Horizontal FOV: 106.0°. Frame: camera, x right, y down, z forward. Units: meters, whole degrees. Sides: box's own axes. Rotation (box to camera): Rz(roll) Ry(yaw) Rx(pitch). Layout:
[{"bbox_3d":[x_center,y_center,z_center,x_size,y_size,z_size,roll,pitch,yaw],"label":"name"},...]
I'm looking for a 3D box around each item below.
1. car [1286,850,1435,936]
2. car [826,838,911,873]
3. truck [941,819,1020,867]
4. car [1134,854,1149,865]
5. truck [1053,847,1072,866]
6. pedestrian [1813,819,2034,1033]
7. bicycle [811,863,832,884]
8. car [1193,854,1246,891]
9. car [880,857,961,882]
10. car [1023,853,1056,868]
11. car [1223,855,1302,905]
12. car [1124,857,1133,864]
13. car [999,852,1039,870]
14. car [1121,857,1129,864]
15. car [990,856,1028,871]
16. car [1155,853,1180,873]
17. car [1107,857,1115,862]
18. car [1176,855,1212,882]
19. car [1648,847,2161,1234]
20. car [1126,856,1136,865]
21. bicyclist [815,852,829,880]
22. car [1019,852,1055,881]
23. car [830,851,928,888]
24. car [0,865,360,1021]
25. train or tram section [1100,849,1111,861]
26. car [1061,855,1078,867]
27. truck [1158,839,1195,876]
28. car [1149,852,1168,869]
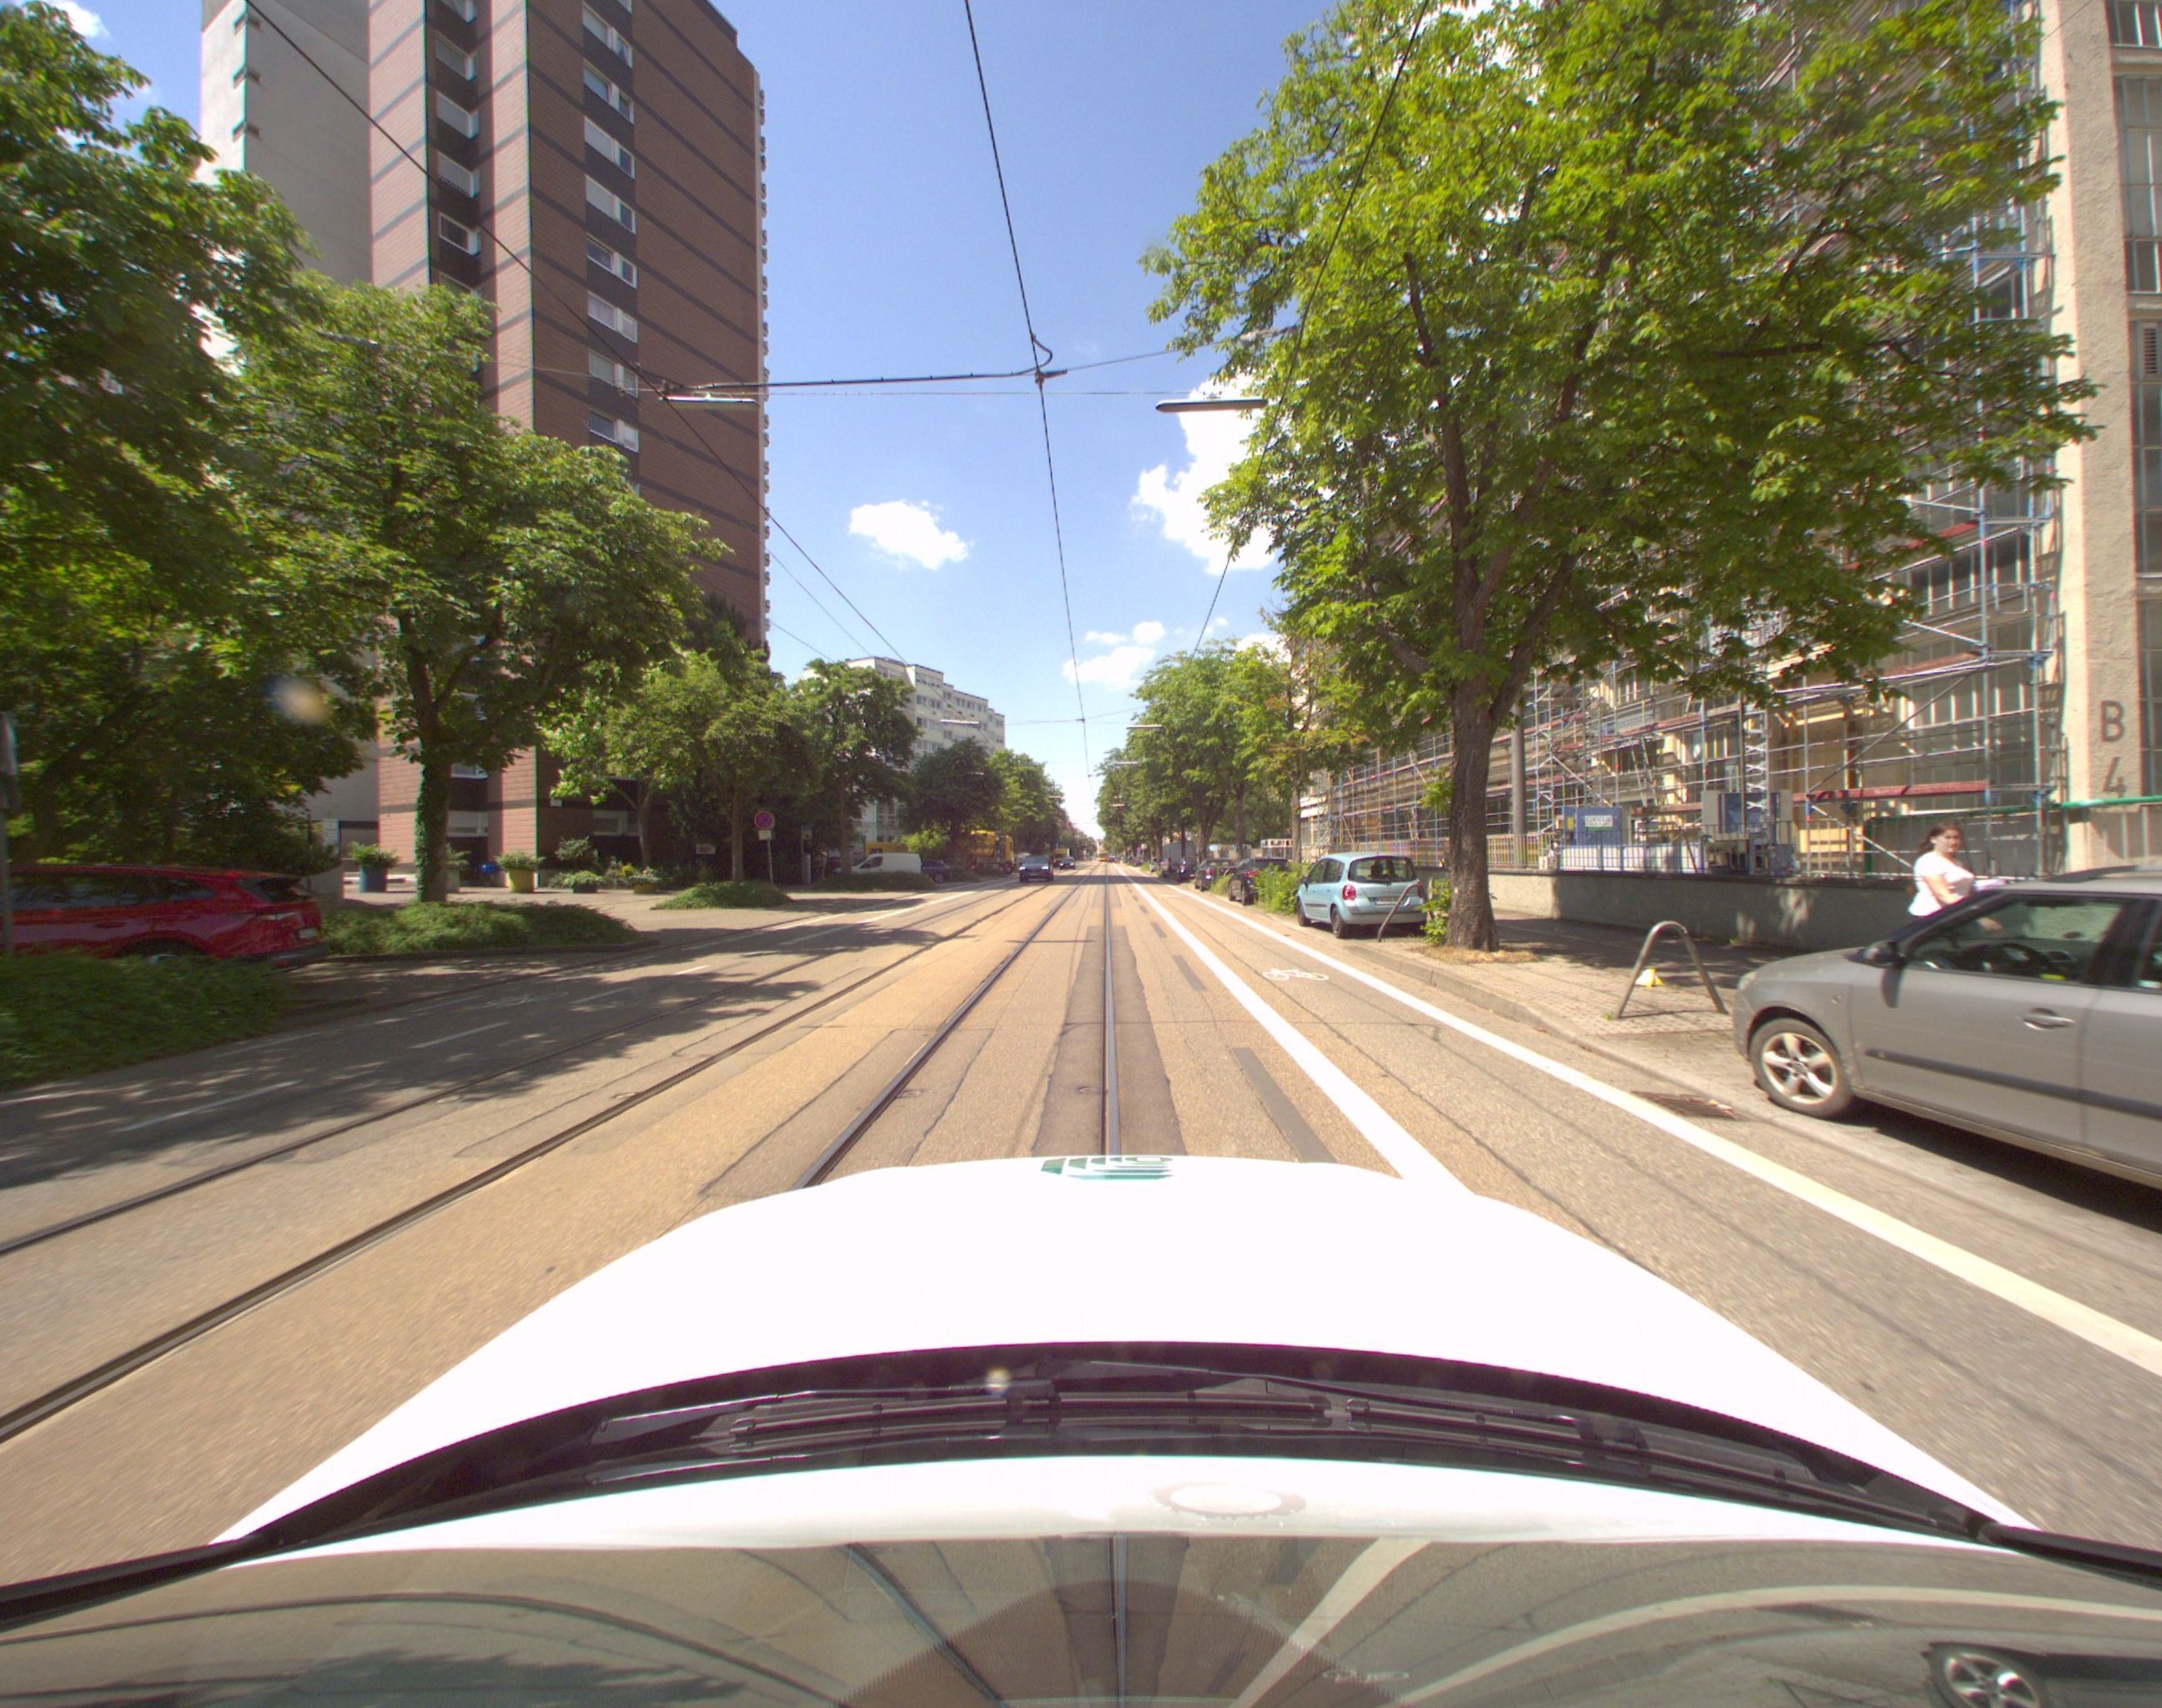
[{"bbox_3d":[5.531,0.696,16.693,1.665,1.517,4.202,-1,0,1],"label":"car"},{"bbox_3d":[-16.377,0.184,63.338,2.157,2.566,6.766,-1,-1,32],"label":"car"},{"bbox_3d":[-8.566,-0.817,71.327,2.695,3.842,11.009,0,-1,16],"label":"truck"},{"bbox_3d":[8.211,0.787,111.253,1.634,1.485,3.870,-2,-1,-1],"label":"car"},{"bbox_3d":[-2.842,0.396,127.461,2.350,2.852,7.384,-2,0,3],"label":"truck"},{"bbox_3d":[6.800,0.547,6.632,0.797,1.588,0.919,-2,0,0],"label":"pedestrian"},{"bbox_3d":[-13.638,1.036,42.863,0.516,1.047,1.876,0,0,0],"label":"bicycle"},{"bbox_3d":[6.108,0.779,36.467,1.817,1.471,4.490,-1,0,3],"label":"car"},{"bbox_3d":[-9.595,0.908,48.757,4.468,1.394,1.753,0,0,-37],"label":"car"},{"bbox_3d":[-6.445,0.969,127.096,4.785,2.062,2.004,-2,0,-37],"label":"car"},{"bbox_3d":[5.731,0.765,26.125,1.665,1.438,4.042,-1,0,1],"label":"car"},{"bbox_3d":[9.955,1.331,171.659,1.704,1.423,4.310,-2,-1,1],"label":"car"},{"bbox_3d":[-7.641,0.868,100.971,1.898,1.935,4.785,-3,-1,44],"label":"car"},{"bbox_3d":[10.280,1.547,189.882,1.704,1.423,4.310,-2,-1,1],"label":"car"},{"bbox_3d":[-7.727,0.992,87.780,1.740,1.507,3.731,-3,0,44],"label":"car"},{"bbox_3d":[6.944,0.713,65.558,1.638,1.534,3.948,-1,0,1],"label":"car"},{"bbox_3d":[7.309,1.302,197.770,1.774,1.346,3.417,-1,0,2],"label":"car"},{"bbox_3d":[6.532,0.796,47.421,1.816,1.471,4.405,-1,0,4],"label":"car"},{"bbox_3d":[5.056,0.729,3.832,1.666,1.499,4.363,-1,0,-1],"label":"car"},{"bbox_3d":[9.329,1.149,152.304,1.586,1.616,3.908,-2,-1,1],"label":"car"},{"bbox_3d":[-13.633,0.638,42.831,0.479,1.481,0.780,0,0,0],"label":"bicyclist"},{"bbox_3d":[-2.678,0.742,50.065,1.824,1.681,4.186,-1,0,2],"label":"car"},{"bbox_3d":[-10.388,0.766,41.914,4.563,1.791,1.882,0,0,-31],"label":"car"},{"bbox_3d":[-11.690,0.949,9.313,4.791,1.566,1.984,0,0,-27],"label":"car"},{"bbox_3d":[7.567,0.325,246.546,3.023,3.438,11.977,-1,0,3],"label":"train or tram section"},{"bbox_3d":[-1.357,0.815,96.813,1.767,1.397,4.289,-1,0,2],"label":"car"},{"bbox_3d":[6.716,0.221,57.952,2.007,2.488,5.957,-1,0,1],"label":"truck"},{"bbox_3d":[7.399,0.640,77.623,1.637,1.534,3.788,-1,0,3],"label":"car"}]
